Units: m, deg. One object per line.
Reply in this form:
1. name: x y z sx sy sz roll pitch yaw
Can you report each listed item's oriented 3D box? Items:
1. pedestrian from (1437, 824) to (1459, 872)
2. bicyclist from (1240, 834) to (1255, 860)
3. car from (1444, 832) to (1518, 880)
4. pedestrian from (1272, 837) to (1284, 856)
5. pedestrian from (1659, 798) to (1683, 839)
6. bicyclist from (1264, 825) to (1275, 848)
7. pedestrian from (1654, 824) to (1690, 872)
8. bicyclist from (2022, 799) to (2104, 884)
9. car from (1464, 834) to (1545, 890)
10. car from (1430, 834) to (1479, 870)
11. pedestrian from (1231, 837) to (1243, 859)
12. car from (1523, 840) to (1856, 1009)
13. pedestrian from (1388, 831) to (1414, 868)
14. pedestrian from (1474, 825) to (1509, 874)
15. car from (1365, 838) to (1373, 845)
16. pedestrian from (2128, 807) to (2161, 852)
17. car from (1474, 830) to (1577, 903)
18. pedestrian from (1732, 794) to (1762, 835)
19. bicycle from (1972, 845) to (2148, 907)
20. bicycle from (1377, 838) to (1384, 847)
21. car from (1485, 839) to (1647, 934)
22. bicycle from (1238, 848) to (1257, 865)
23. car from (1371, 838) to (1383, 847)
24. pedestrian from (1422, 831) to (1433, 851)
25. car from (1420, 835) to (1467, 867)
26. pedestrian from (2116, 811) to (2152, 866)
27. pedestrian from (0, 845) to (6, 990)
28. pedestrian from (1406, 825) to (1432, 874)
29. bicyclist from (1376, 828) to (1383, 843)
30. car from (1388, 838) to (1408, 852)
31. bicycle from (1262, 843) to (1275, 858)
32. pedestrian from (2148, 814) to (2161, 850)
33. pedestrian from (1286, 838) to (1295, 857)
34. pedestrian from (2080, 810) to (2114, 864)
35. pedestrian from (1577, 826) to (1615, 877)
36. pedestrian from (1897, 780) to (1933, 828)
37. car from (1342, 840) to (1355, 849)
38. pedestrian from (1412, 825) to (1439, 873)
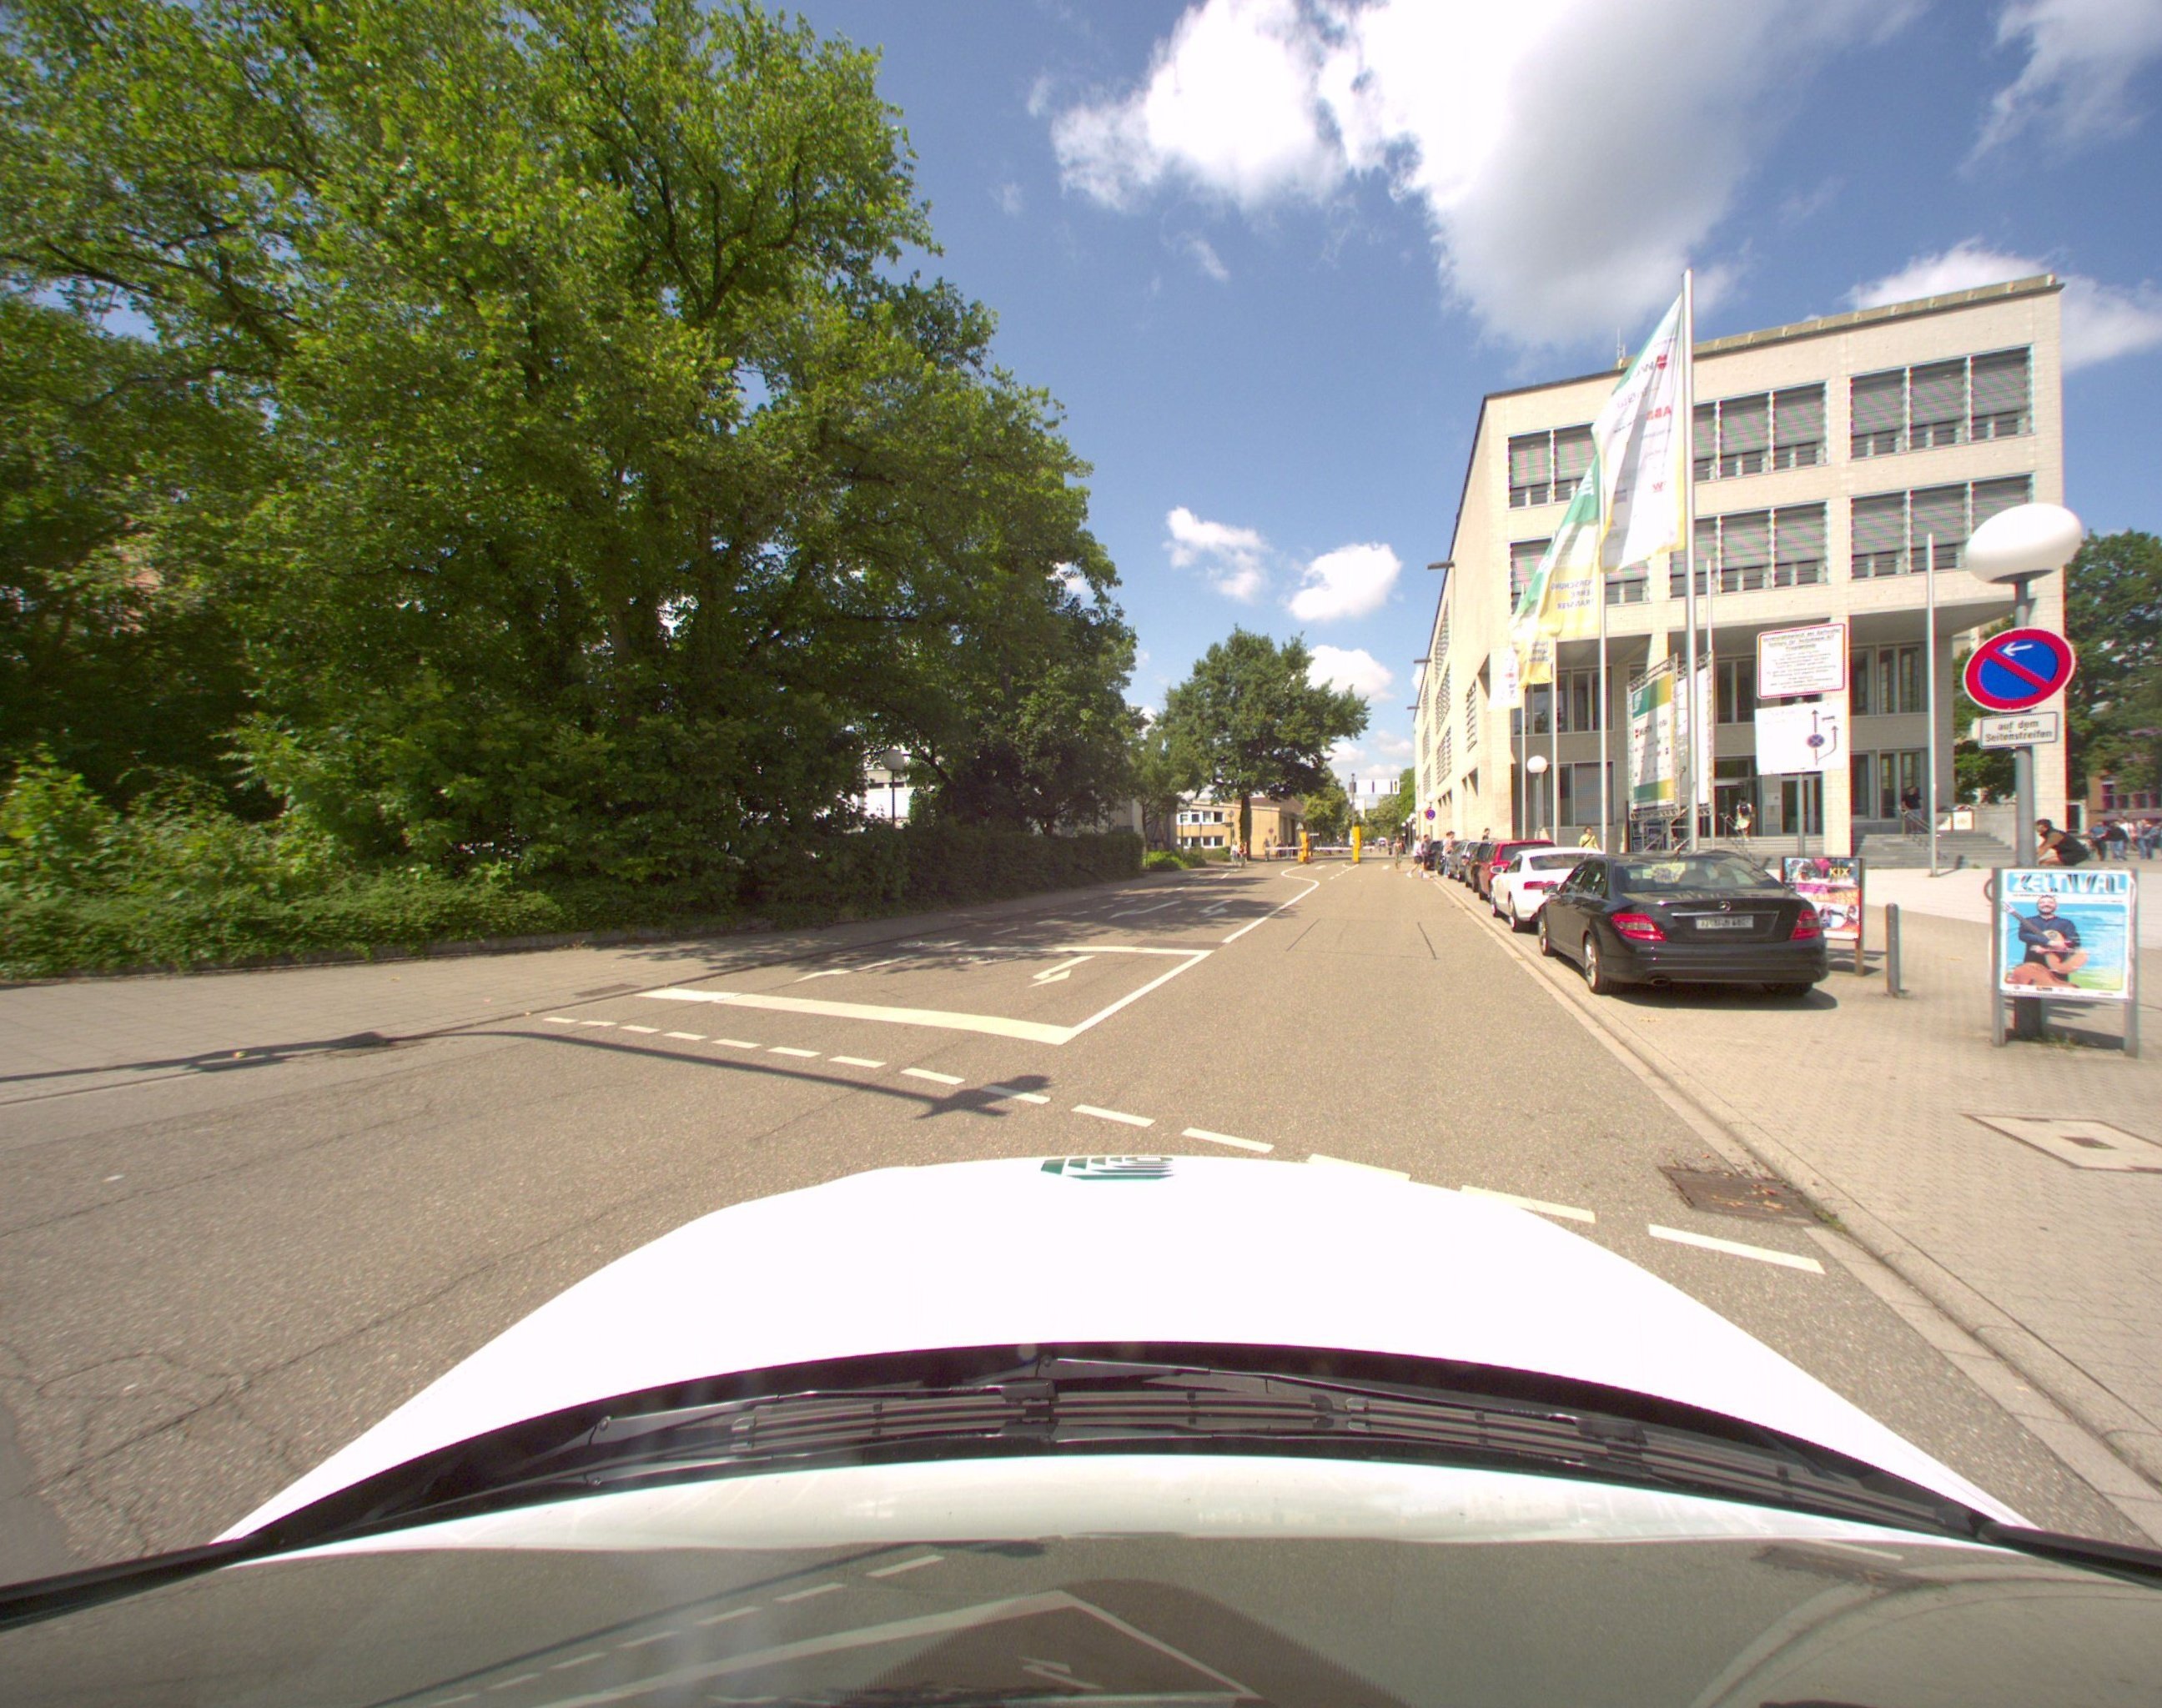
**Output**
1. pedestrian: 15.093 -0.243 33.483 0.717 1.925 0.756 -1 0 28
2. bicyclist: 10.002 -0.424 48.797 0.687 1.548 1.023 -2 0 20
3. car: 14.501 0.045 29.735 1.705 1.529 4.588 -3 0 18
4. pedestrian: 19.365 -0.715 79.980 1.047 1.815 0.810 -2 1 19
5. pedestrian: 24.912 -1.475 34.378 0.626 1.666 0.720 -2 -2 23
6. bicyclist: 14.640 -1.331 63.185 0.687 1.736 0.923 -2 0 20
7. pedestrian: 20.597 -0.225 28.395 0.691 1.639 0.734 -2 0 -18
8. bicyclist: 18.901 -0.239 15.686 0.665 1.564 0.923 -2 0 -33
9. car: 12.609 0.197 24.451 1.704 1.529 4.021 -2 0 21
10. car: 16.558 -0.115 36.256 1.601 1.496 4.026 -1 1 19
11. pedestrian: 11.287 -0.441 59.039 0.707 1.627 0.888 -1 0 19
12. car: 6.470 0.593 9.374 1.703 1.400 4.974 -3 0 21
13. pedestrian: 15.194 -0.199 38.706 0.623 1.717 1.036 -2 0 -12
14. pedestrian: 16.207 -0.177 32.179 1.085 1.920 1.026 -1 0 21
15. car: 87.171 -3.792 246.578 1.976 1.720 4.022 -2 -1 23
16. pedestrian: 42.306 -0.960 32.260 0.861 1.702 0.638 -2 -2 39
17. car: 10.510 0.243 19.524 1.600 1.496 4.169 -4 0 22
18. pedestrian: 26.763 -1.585 32.715 0.711 1.585 0.720 -2 -2 23
19. bicycle: 18.836 0.389 15.723 0.908 1.078 2.131 -2 2 -36
20. bicycle: 43.929 -1.668 119.521 0.979 1.316 2.979 -2 -1 20
21. car: 8.530 0.484 14.727 1.703 1.400 4.462 -4 -1 21
22. bicycle: 9.982 0.145 48.723 0.786 0.989 2.221 -1 0 20
23. car: 62.753 -2.338 172.556 1.976 1.720 4.022 -2 -1 23
24. pedestrian: 31.429 -1.170 73.896 0.760 1.780 0.915 -3 0 19
25. car: 17.945 -0.181 40.479 1.850 1.464 4.543 -1 1 20
26. pedestrian: 43.622 -0.625 33.741 0.707 2.229 0.638 -2 -2 39
27. pedestrian: -12.693 0.724 8.785 1.012 1.626 0.858 0 2 4
28. pedestrian: 13.721 -0.180 33.021 0.776 1.925 0.597 -1 0 43
29. bicyclist: 43.846 -2.723 119.532 0.979 2.132 1.041 -2 -2 20
30. car: 35.789 -0.990 91.943 1.976 1.545 4.234 -1 0 21
31. bicycle: 14.612 -0.292 63.321 0.687 1.171 2.221 -2 0 20
32. pedestrian: 43.773 -0.904 32.840 0.707 1.430 0.638 -2 -2 39
33. pedestrian: 20.228 -0.612 78.773 0.699 1.809 1.006 -2 1 19
34. pedestrian: 42.985 -0.702 34.475 0.707 2.229 0.638 -2 -2 39
35. pedestrian: 17.986 -0.099 28.488 0.910 1.740 1.007 -1 0 21
36. pedestrian: 32.690 -1.929 31.920 0.711 1.798 0.720 -2 -2 23
37. car: 48.752 -1.687 148.595 1.976 1.545 4.234 -1 1 21
38. pedestrian: 14.203 -0.215 33.551 0.774 1.925 0.739 -1 0 43
